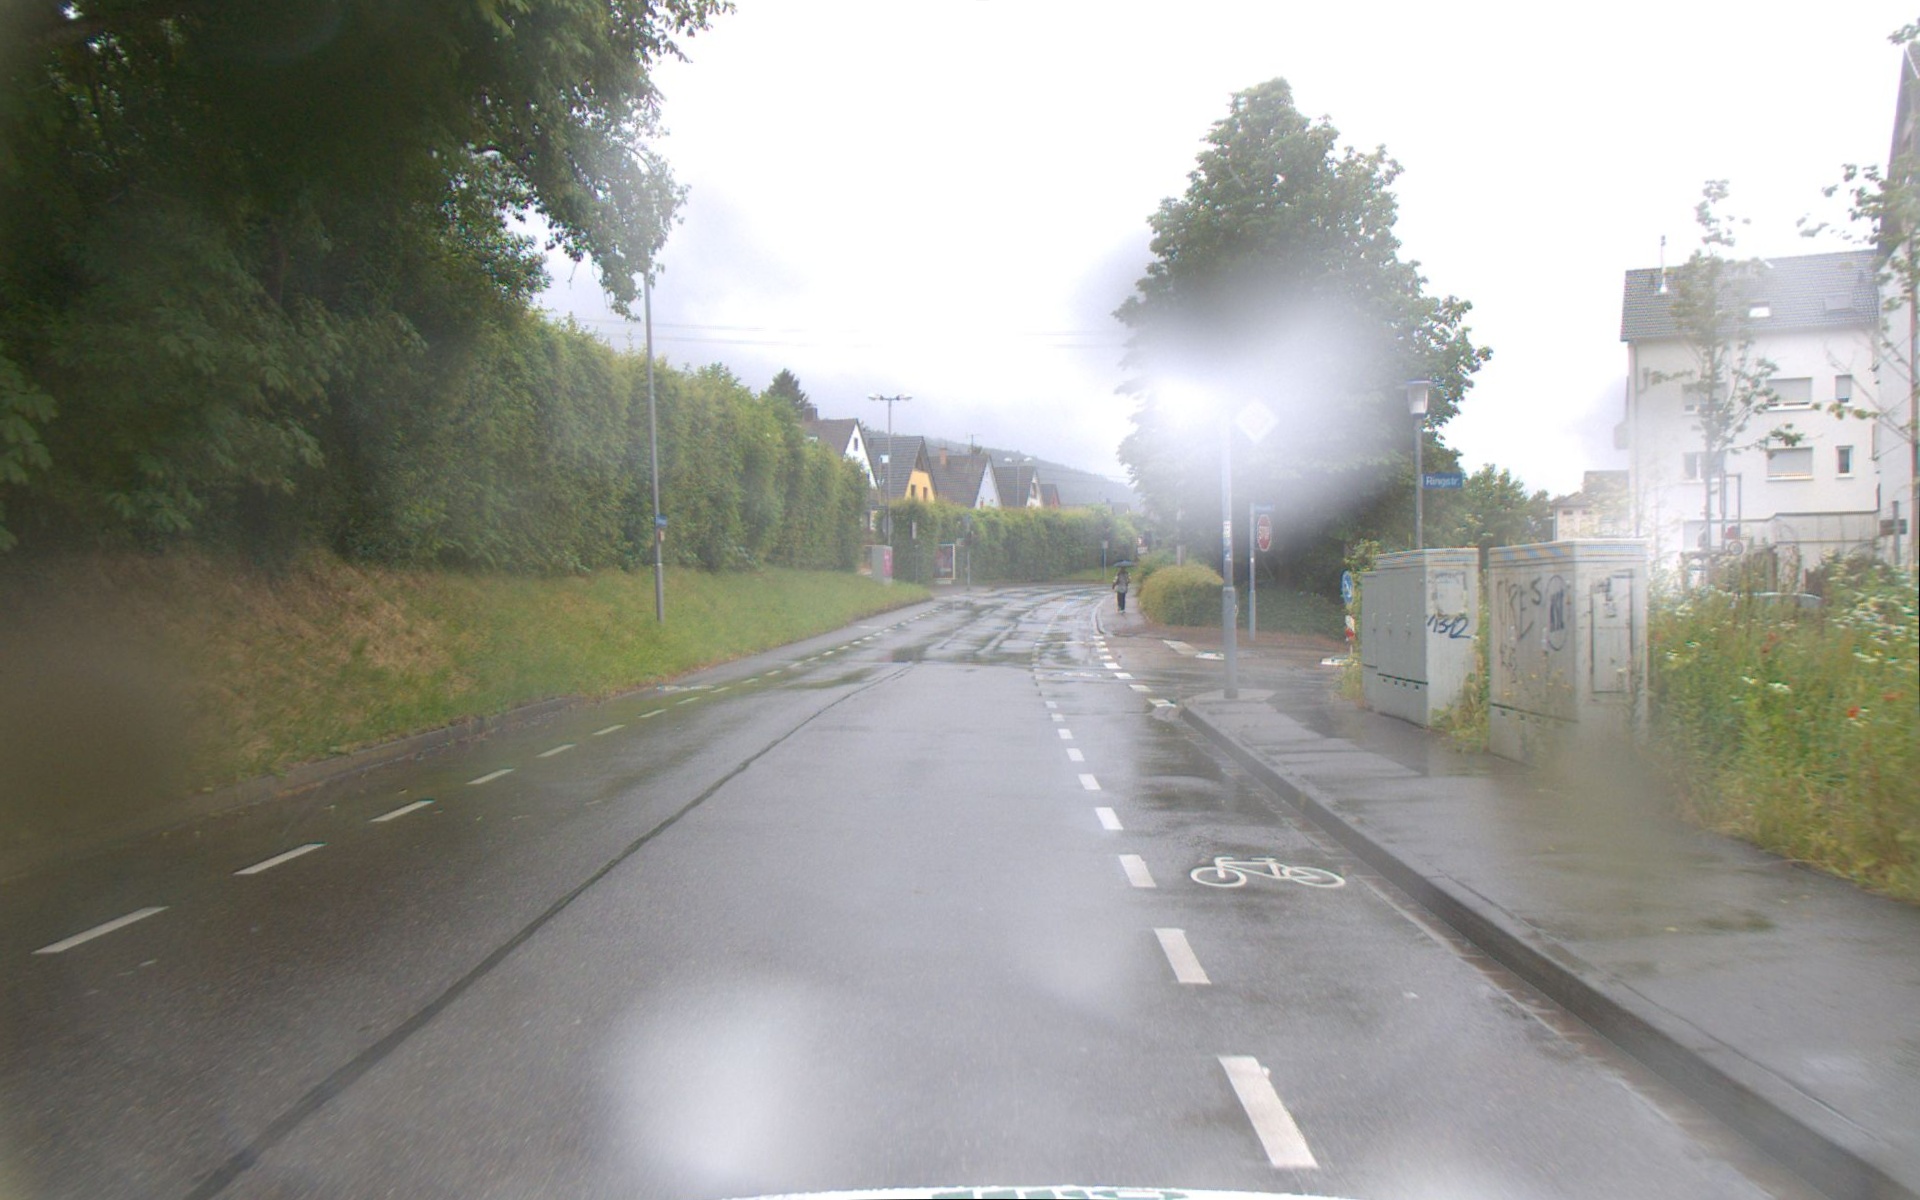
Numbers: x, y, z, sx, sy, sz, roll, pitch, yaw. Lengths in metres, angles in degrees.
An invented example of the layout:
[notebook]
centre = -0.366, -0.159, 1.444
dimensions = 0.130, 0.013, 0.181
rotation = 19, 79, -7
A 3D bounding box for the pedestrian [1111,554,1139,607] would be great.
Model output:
[pedestrian]
centre = 5.495, -0.660, 55.116
dimensions = 0.900, 1.704, 1.058
rotation = -2, 1, 5
